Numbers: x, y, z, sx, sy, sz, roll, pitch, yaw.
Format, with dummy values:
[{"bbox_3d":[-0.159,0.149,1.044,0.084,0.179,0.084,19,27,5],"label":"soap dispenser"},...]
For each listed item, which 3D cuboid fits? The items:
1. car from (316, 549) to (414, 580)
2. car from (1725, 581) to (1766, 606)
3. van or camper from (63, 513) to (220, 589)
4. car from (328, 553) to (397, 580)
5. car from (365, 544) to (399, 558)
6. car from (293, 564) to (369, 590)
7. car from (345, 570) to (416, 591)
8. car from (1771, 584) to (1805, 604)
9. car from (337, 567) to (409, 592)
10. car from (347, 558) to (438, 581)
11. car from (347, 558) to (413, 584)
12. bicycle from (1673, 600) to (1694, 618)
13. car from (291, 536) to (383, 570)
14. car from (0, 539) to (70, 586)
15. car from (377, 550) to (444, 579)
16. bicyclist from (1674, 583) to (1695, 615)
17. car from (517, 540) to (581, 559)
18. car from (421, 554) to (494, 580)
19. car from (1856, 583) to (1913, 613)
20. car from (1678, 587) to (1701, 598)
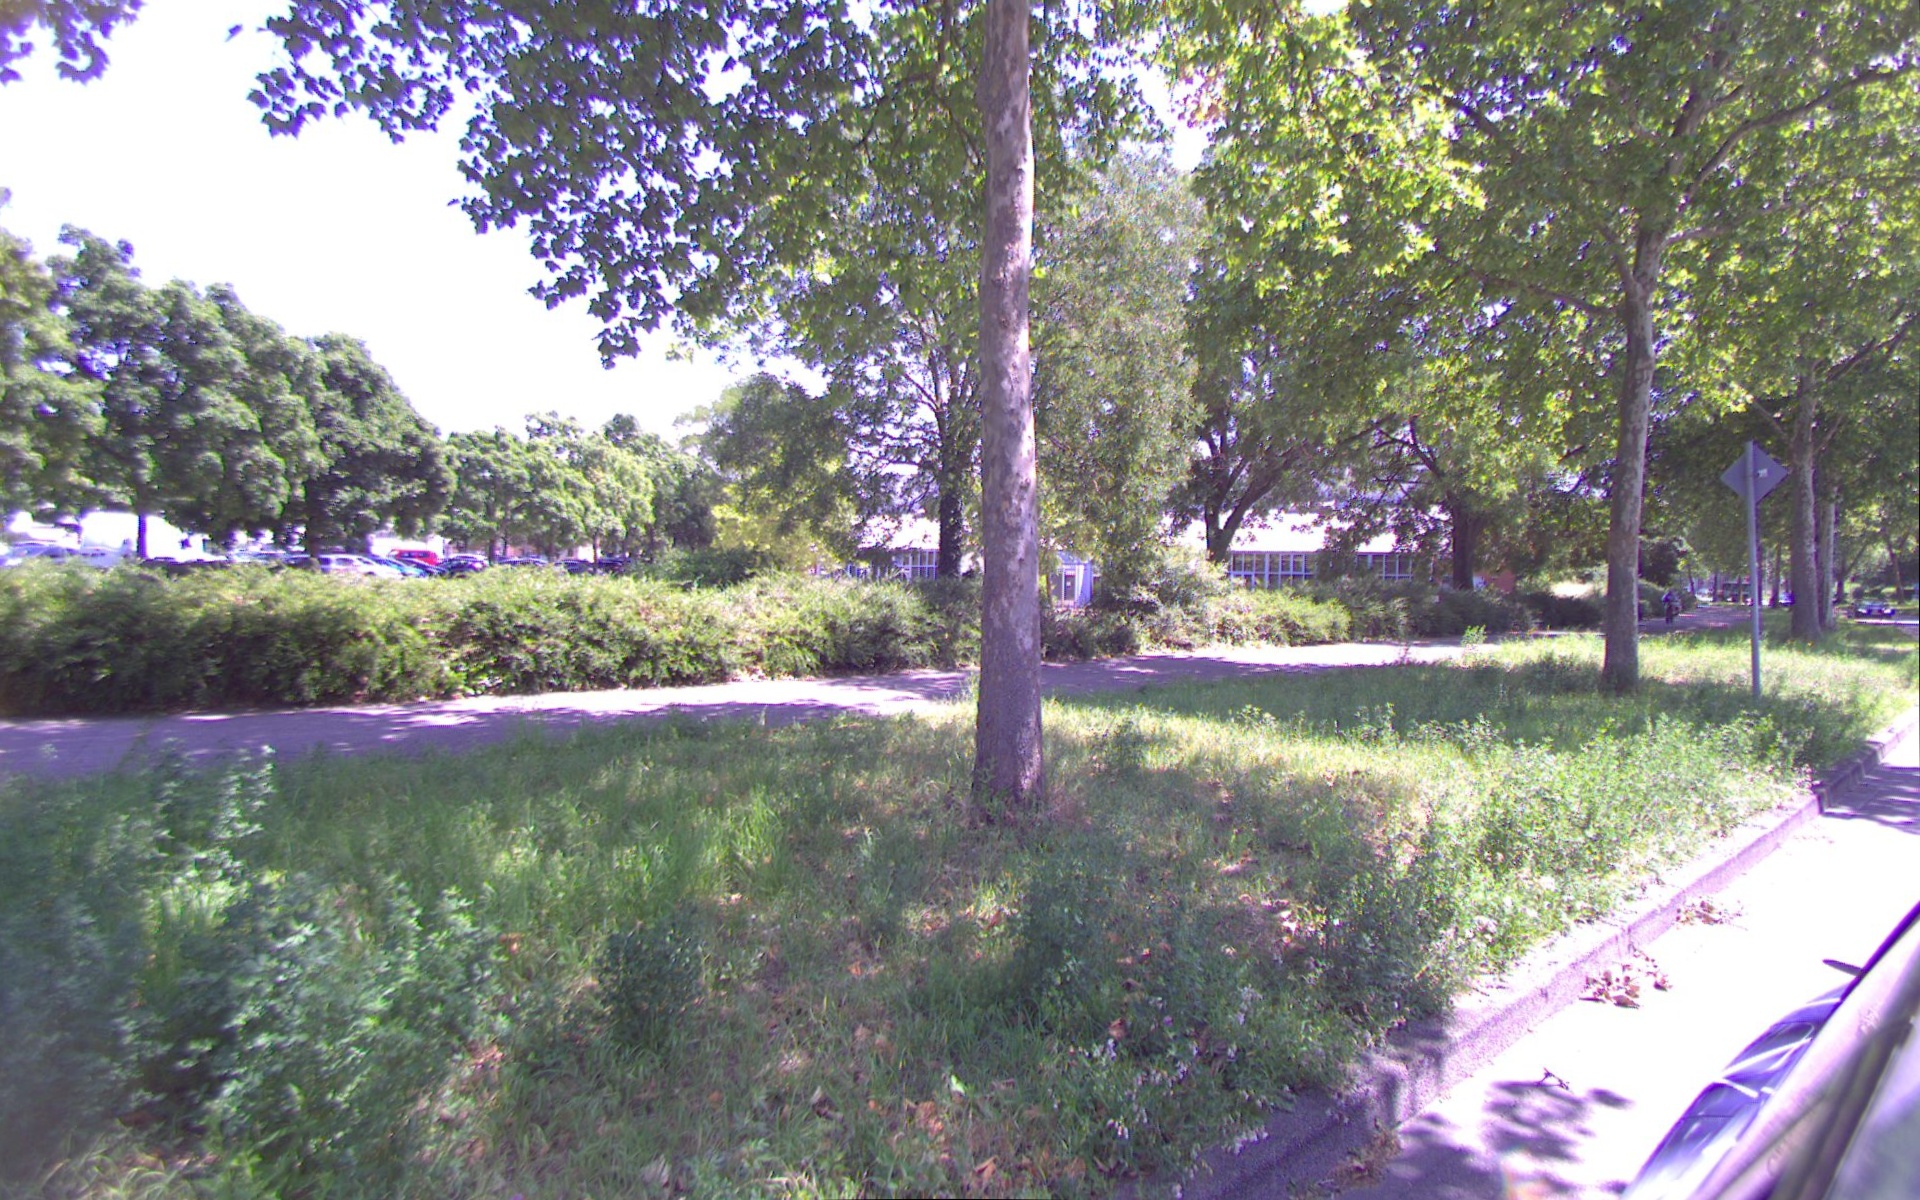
[{"bbox_3d":[-27.325,-1.624,46.589,3.501,1.241,1.622,3,0,-8],"label":"car"},{"bbox_3d":[89.016,-0.812,114.743,2.897,2.687,6.295,2,1,32],"label":"car"},{"bbox_3d":[-32.482,-1.917,40.399,2.161,2.785,5.131,1,2,0],"label":"van or camper"},{"bbox_3d":[-27.505,-1.539,46.604,2.547,1.141,1.008,1,1,-8],"label":"car"},{"bbox_3d":[-70.034,-5.930,122.703,1.433,1.638,3.326,2,2,35],"label":"car"},{"bbox_3d":[-26.295,-0.955,42.362,2.547,1.049,0.955,1,1,-8],"label":"car"},{"bbox_3d":[-25.827,-0.875,45.139,2.547,0.852,0.955,1,1,-8],"label":"car"},{"bbox_3d":[77.721,-0.564,95.018,1.986,1.816,3.952,2,2,33],"label":"car"},{"bbox_3d":[-25.464,-0.894,43.927,2.547,0.999,0.955,1,1,-8],"label":"car"},{"bbox_3d":[-27.493,-1.465,49.130,3.494,1.047,1.685,1,2,-8],"label":"car"},{"bbox_3d":[-27.363,-1.370,47.763,2.547,1.141,0.955,1,1,-8],"label":"car"},{"bbox_3d":[31.013,0.380,43.370,0.464,0.774,1.641,2,1,45],"label":"bicycle"},{"bbox_3d":[-38.794,-2.905,63.150,4.334,2.039,2.249,1,1,-5],"label":"car"},{"bbox_3d":[-36.517,-1.432,38.430,1.919,1.739,4.073,1,1,-1],"label":"car"},{"bbox_3d":[-40.846,-2.665,75.349,3.920,2.039,1.969,-1,0,-6],"label":"car"},{"bbox_3d":[31.030,-0.038,43.372,0.655,1.355,0.599,1,1,-44],"label":"bicyclist"},{"bbox_3d":[-62.516,-7.729,154.045,8.647,2.620,3.054,1,1,-9],"label":"car"},{"bbox_3d":[-28.605,-1.889,57.728,3.357,1.383,1.720,1,1,-8],"label":"car"},{"bbox_3d":[60.716,-0.154,66.526,1.984,1.905,3.956,2,1,31],"label":"car"},{"bbox_3d":[99.490,-0.998,137.992,1.488,1.404,3.410,1,1,17],"label":"car"}]
